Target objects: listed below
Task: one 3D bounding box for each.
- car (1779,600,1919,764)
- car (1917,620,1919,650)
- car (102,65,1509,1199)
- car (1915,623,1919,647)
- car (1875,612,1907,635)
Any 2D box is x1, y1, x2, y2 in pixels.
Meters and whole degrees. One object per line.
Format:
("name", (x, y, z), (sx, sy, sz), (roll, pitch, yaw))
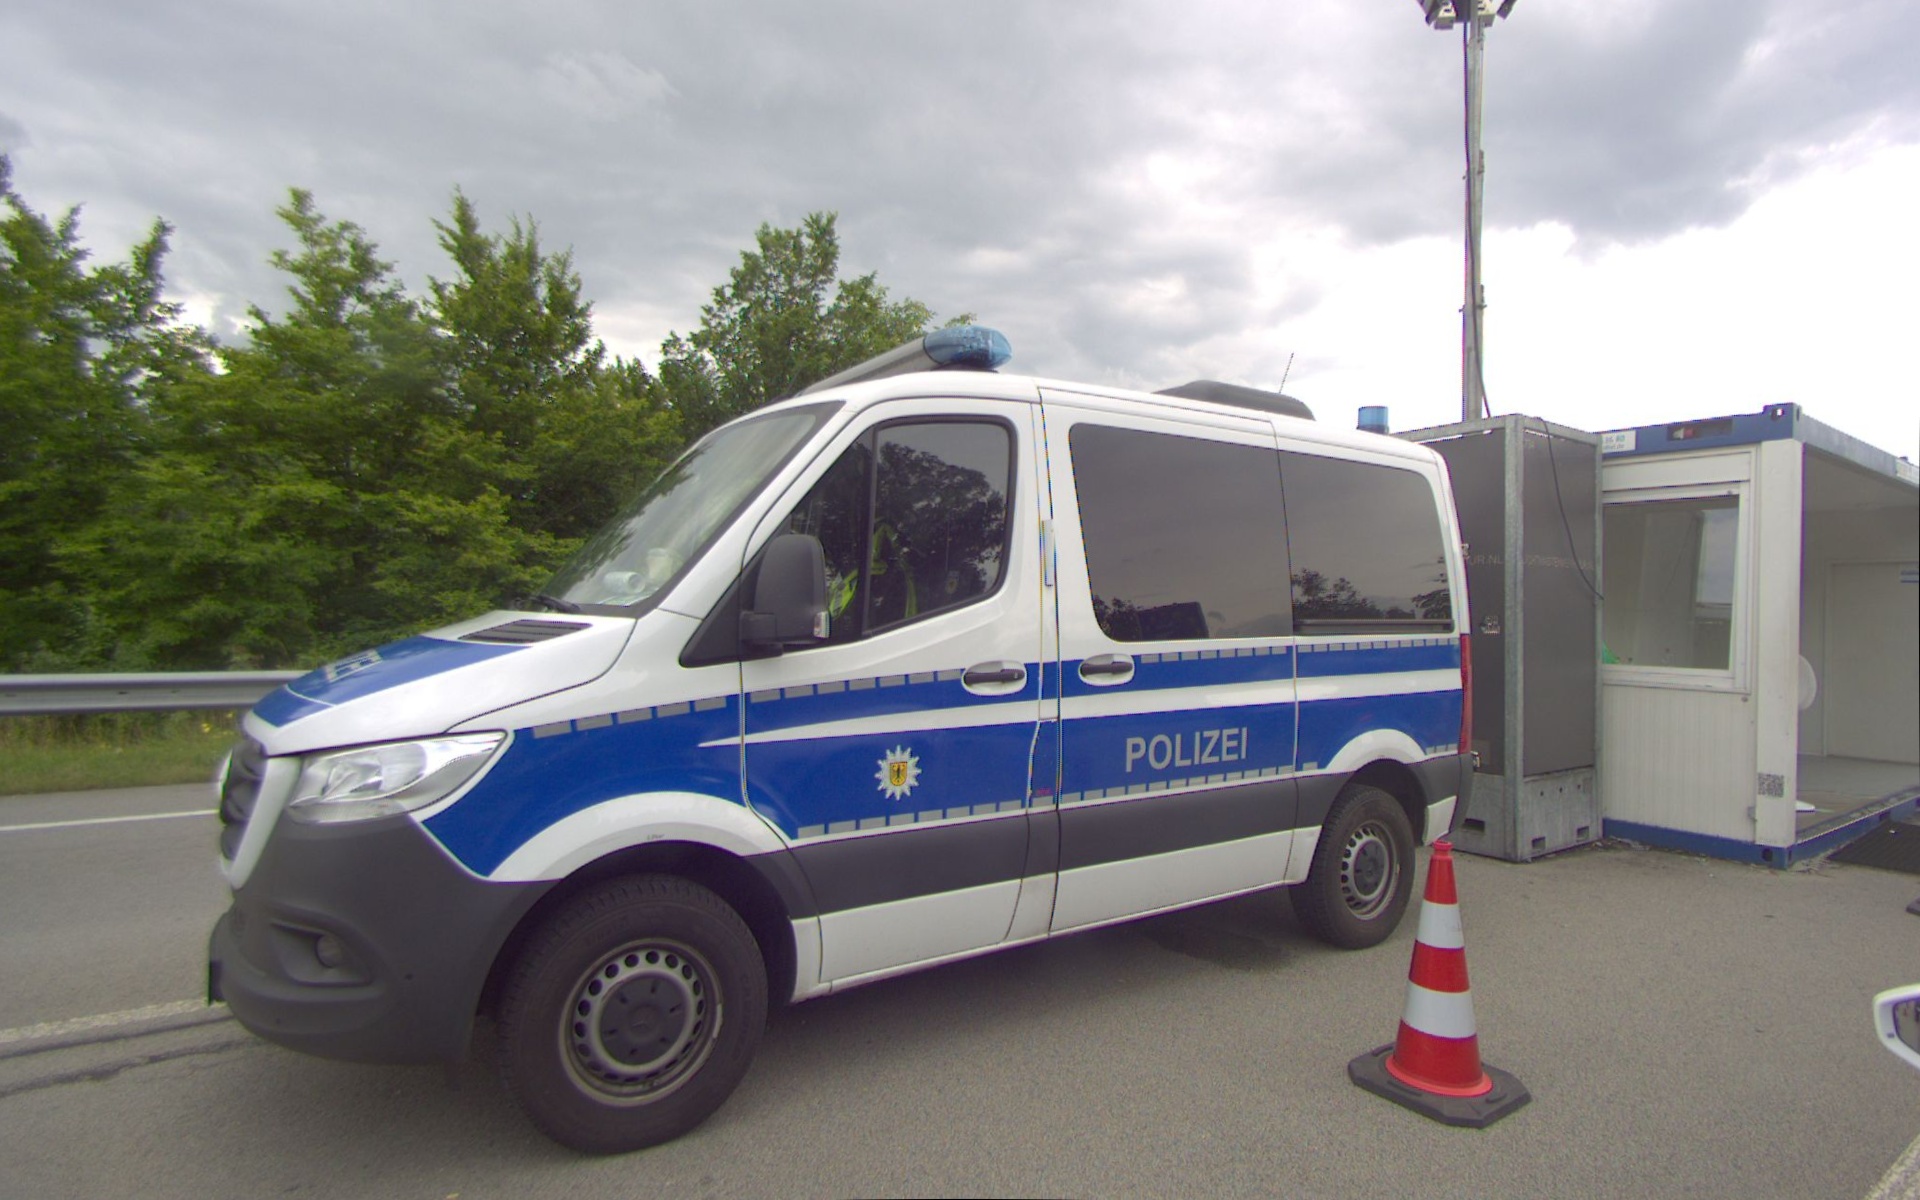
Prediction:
("car", (11.823, 0.926, 12.196), (3.967, 1.767, 1.857), (1, 0, -34))
("car", (52.081, 1.880, 53.185), (4.226, 1.518, 1.838), (2, 0, -43))
("car", (-0.055, 0.241, 4.293), (5.224, 2.496, 2.017), (1, 0, -34))
("car", (63.412, 2.294, 65.253), (1.835, 1.518, 4.233), (1, -1, 42))
("car", (95.102, 2.386, 102.621), (1.831, 2.252, 4.242), (1, 0, 36))
